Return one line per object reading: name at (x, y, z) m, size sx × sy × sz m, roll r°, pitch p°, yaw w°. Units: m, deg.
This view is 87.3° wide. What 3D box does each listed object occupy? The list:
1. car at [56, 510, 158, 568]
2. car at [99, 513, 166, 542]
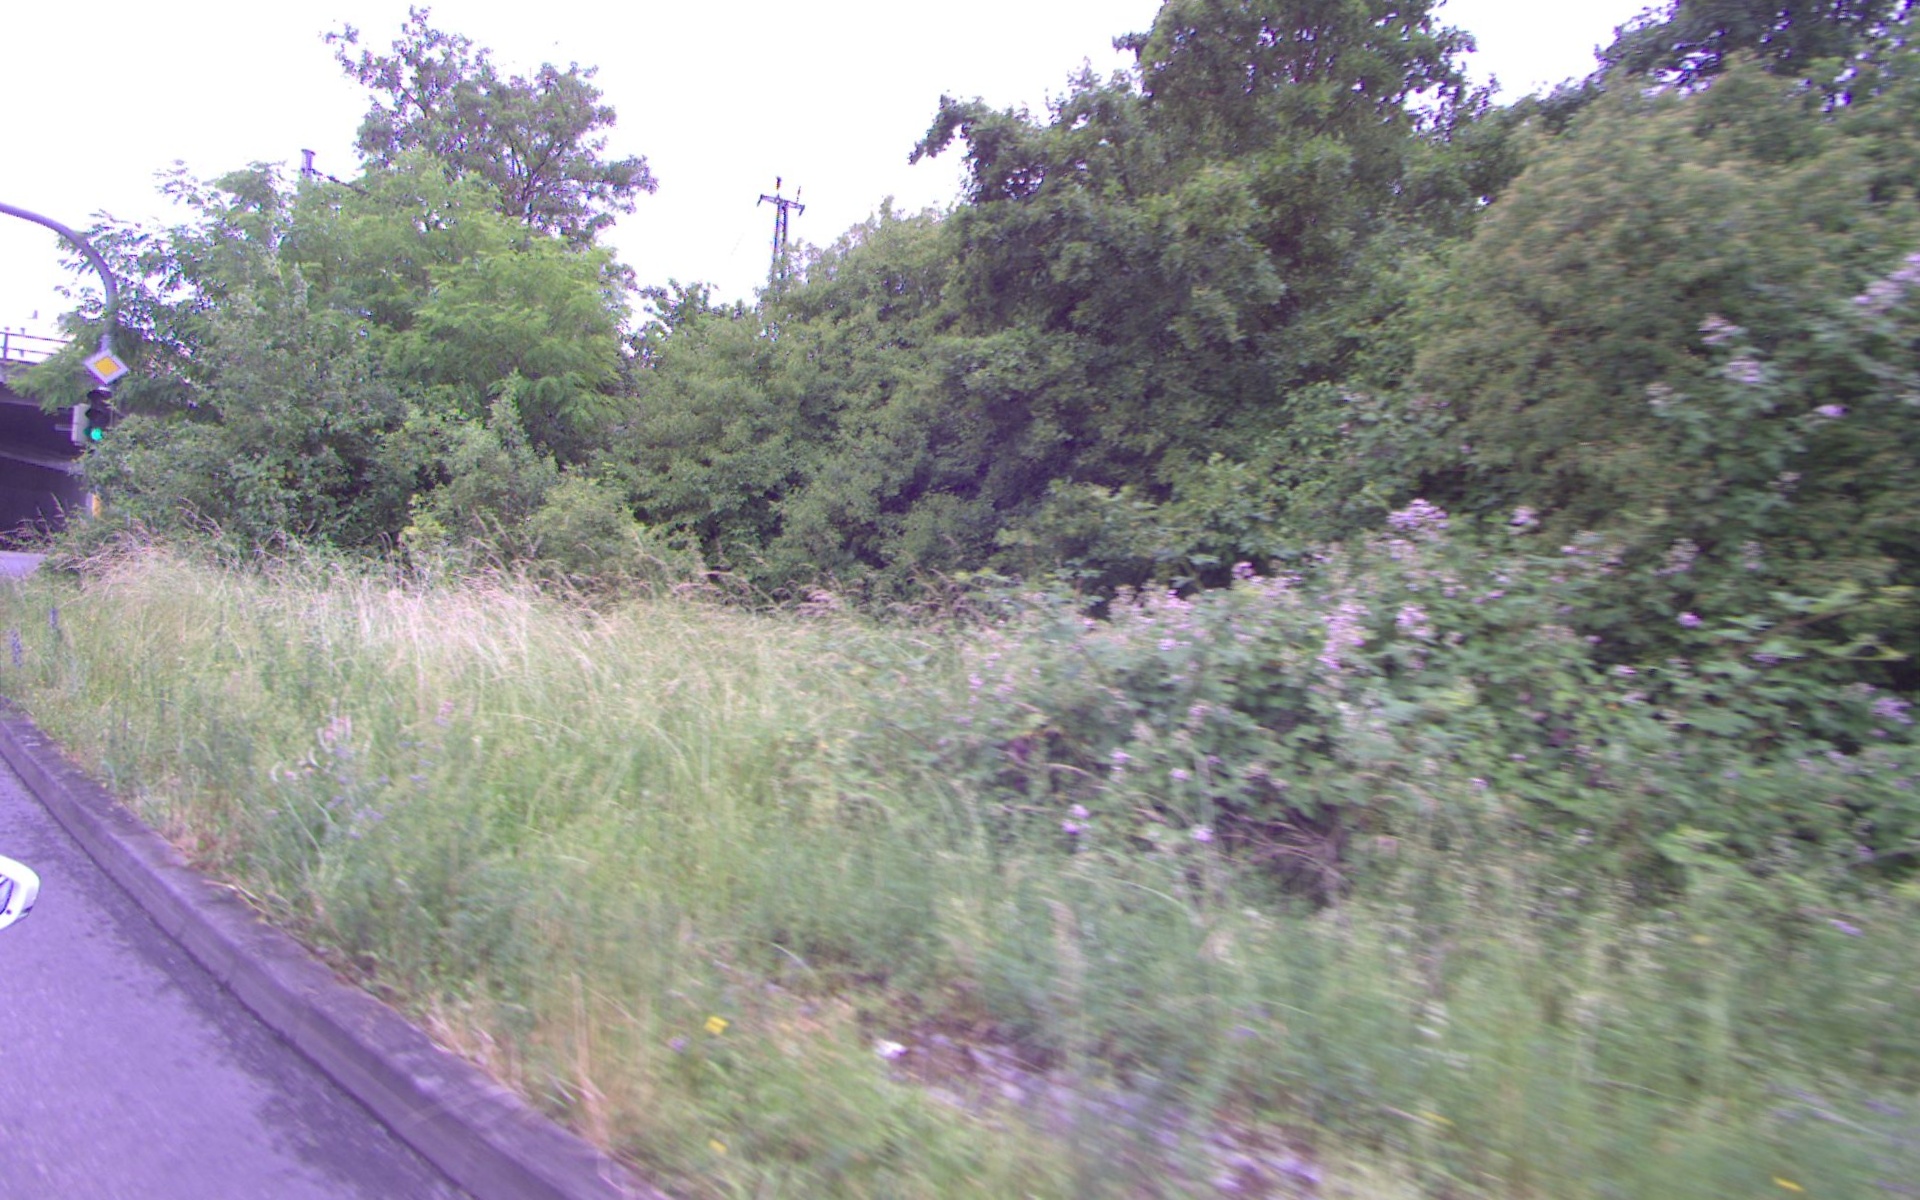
car at (-27.859, -1.944, 33.003) m, size 1.889 × 1.482 × 3.967 m, roll 10°, pitch -4°, yaw -33°
car at (-71.150, -6.195, 86.563) m, size 3.948 × 1.972 × 1.988 m, roll 5°, pitch 0°, yaw -25°
